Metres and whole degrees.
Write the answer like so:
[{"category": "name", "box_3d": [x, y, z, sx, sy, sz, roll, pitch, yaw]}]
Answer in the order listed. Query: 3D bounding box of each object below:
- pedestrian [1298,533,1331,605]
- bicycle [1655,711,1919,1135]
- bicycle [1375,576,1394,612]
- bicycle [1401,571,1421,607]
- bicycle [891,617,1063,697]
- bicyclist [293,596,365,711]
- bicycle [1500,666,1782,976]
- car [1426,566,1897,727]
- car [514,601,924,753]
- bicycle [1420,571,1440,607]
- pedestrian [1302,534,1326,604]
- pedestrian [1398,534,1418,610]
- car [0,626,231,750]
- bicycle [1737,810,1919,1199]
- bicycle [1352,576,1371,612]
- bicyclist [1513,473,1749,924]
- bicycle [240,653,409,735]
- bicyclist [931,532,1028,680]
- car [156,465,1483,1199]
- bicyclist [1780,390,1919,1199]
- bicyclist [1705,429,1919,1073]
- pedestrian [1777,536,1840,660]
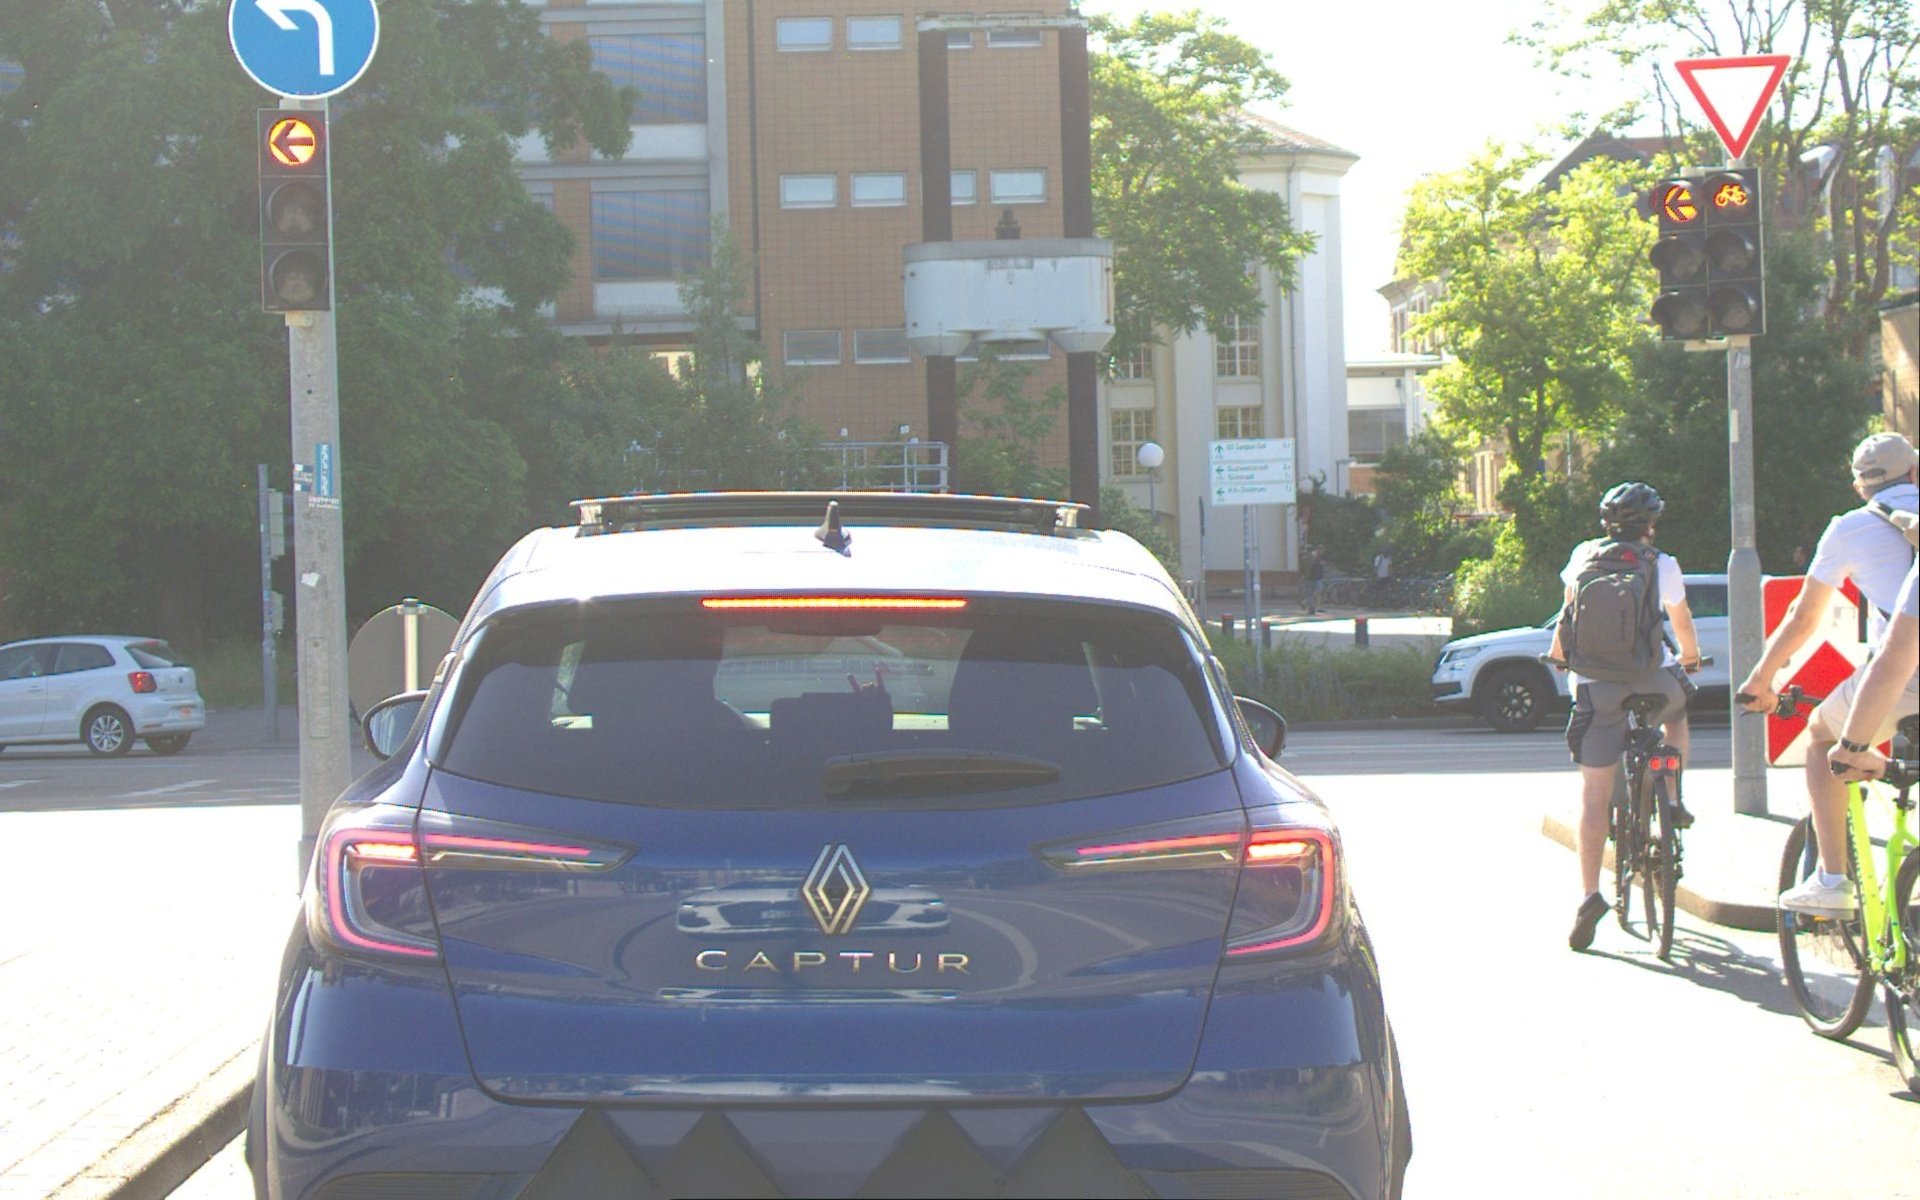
[{"category": "pedestrian", "box_3d": [9.166, -0.806, 88.929, 0.623, 1.849, 0.563, -1, 1, -18]}, {"category": "bicycle", "box_3d": [2.612, 0.863, 9.818, 0.659, 0.999, 1.970, 1, 1, -6]}, {"category": "bicycle", "box_3d": [11.608, -0.170, 94.034, 0.405, 0.969, 1.683, 1, 1, 4]}, {"category": "bicycle", "box_3d": [12.376, -0.306, 94.400, 0.405, 0.969, 1.683, 1, 1, 4]}, {"category": "bicycle", "box_3d": [0.225, 0.728, 44.002, 2.082, 0.927, 0.696, -2, 2, 11]}, {"category": "bicyclist", "box_3d": [-8.036, 0.673, 43.783, 0.737, 1.436, 0.598, -2, 1, -27]}, {"category": "bicycle", "box_3d": [2.510, 0.779, 12.898, 0.739, 0.992, 2.173, 1, 1, 3]}, {"category": "car", "box_3d": [7.482, 0.491, 36.967, 4.825, 1.626, 1.843, -1, 0, 10]}, {"category": "car", "box_3d": [-2.405, 0.767, 34.788, 3.837, 1.430, 1.742, -1, 0, 9]}, {"category": "bicycle", "box_3d": [12.912, -0.299, 94.414, 0.405, 0.969, 1.683, 1, 1, 4]}, {"category": "pedestrian", "box_3d": [9.452, -0.830, 91.764, 0.613, 1.849, 0.467, -1, 1, 6]}, {"category": "pedestrian", "box_3d": [12.033, -0.751, 92.392, 0.475, 2.007, 0.468, -1, 1, 6]}, {"category": "car", "box_3d": [-10.886, 1.058, 41.136, 3.838, 1.430, 1.742, -1, -1, 13]}, {"category": "bicycle", "box_3d": [2.228, 0.964, 7.253, 0.740, 0.893, 1.978, 1, 1, 1]}, {"category": "bicycle", "box_3d": [10.986, -0.179, 94.078, 0.405, 0.969, 1.683, 1, 1, 4]}, {"category": "bicyclist", "box_3d": [2.508, 0.353, 12.942, 0.726, 1.623, 0.969, 1, 0, 4]}, {"category": "bicycle", "box_3d": [-8.083, 1.186, 43.765, 2.005, 0.961, 0.598, -2, 1, -27]}, {"category": "bicyclist", "box_3d": [0.251, 0.078, 44.009, 1.102, 1.861, 0.652, -1, 0, 10]}, {"category": "car", "box_3d": [-0.268, 0.611, 6.693, 1.803, 1.626, 4.000, 0, 1, -2]}, {"category": "bicyclist", "box_3d": [2.232, 0.420, 7.242, 0.751, 1.663, 1.016, 1, 0, 1]}, {"category": "bicyclist", "box_3d": [2.623, 0.404, 9.807, 0.645, 1.733, 1.067, 1, 0, -6]}, {"category": "pedestrian", "box_3d": [11.045, -0.028, 44.768, 0.737, 1.598, 0.598, -1, 1, 12]}]
